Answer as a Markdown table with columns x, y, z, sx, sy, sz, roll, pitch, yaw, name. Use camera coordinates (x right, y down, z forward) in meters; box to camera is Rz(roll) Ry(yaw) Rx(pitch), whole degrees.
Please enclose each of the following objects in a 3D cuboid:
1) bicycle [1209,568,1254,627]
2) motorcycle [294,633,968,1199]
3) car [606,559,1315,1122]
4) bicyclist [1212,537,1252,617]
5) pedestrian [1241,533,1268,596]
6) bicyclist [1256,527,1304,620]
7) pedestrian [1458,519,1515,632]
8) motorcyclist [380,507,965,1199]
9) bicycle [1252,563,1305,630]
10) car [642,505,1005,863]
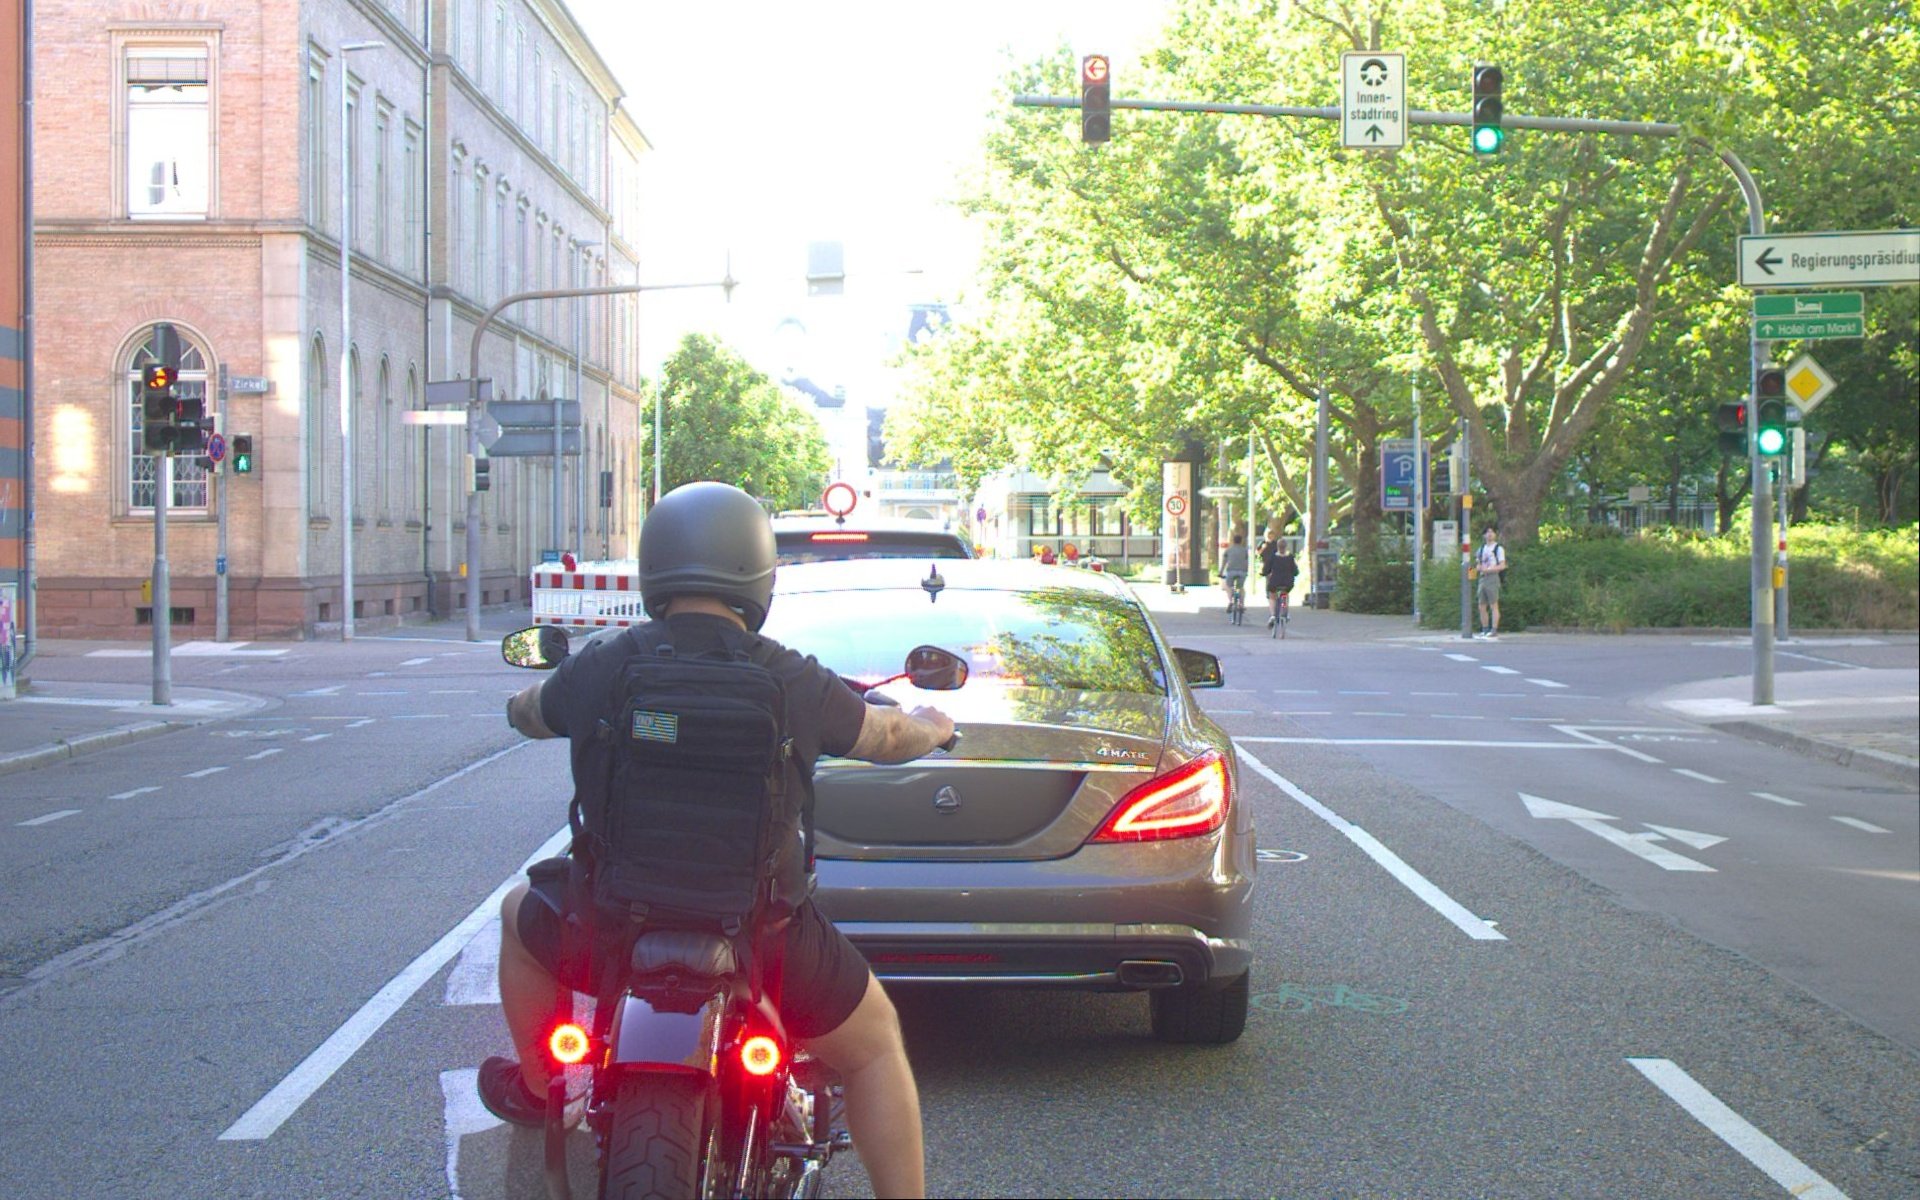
| x | y | z | sx | sy | sz | roll | pitch | yaw | name |
| --- | --- | --- | --- | --- | --- | --- | --- | --- | --- |
| 5.270 | -0.065 | 66.832 | 0.656 | 1.107 | 2.186 | 2 | 1 | -1 | bicycle |
| -0.512 | 0.754 | 6.516 | 1.012 | 1.302 | 2.673 | 0 | 1 | -1 | motorcycle |
| -0.024 | 0.604 | 10.843 | 1.828 | 1.415 | 3.815 | 1 | 1 | -1 | car |
| 5.287 | -0.446 | 66.797 | 0.656 | 1.525 | 0.906 | 2 | 1 | -1 | bicyclist |
| 7.471 | -0.893 | 87.212 | 0.592 | 1.573 | 0.527 | 2 | 0 | 0 | pedestrian |
| 5.327 | -0.438 | 57.257 | 0.656 | 1.525 | 0.852 | 2 | 1 | -1 | bicyclist |
| 8.337 | -0.388 | 54.482 | 0.570 | 1.768 | 0.625 | 1 | 1 | -35 | pedestrian |
| -0.506 | 0.624 | 6.668 | 1.012 | 1.596 | 1.406 | 0 | 1 | -1 | motorcyclist |
| 5.308 | -0.066 | 57.308 | 0.656 | 1.066 | 1.927 | 2 | 1 | -1 | bicycle |
| -0.815 | 0.371 | 18.090 | 1.630 | 1.645 | 3.851 | 2 | 1 | -6 | car |
